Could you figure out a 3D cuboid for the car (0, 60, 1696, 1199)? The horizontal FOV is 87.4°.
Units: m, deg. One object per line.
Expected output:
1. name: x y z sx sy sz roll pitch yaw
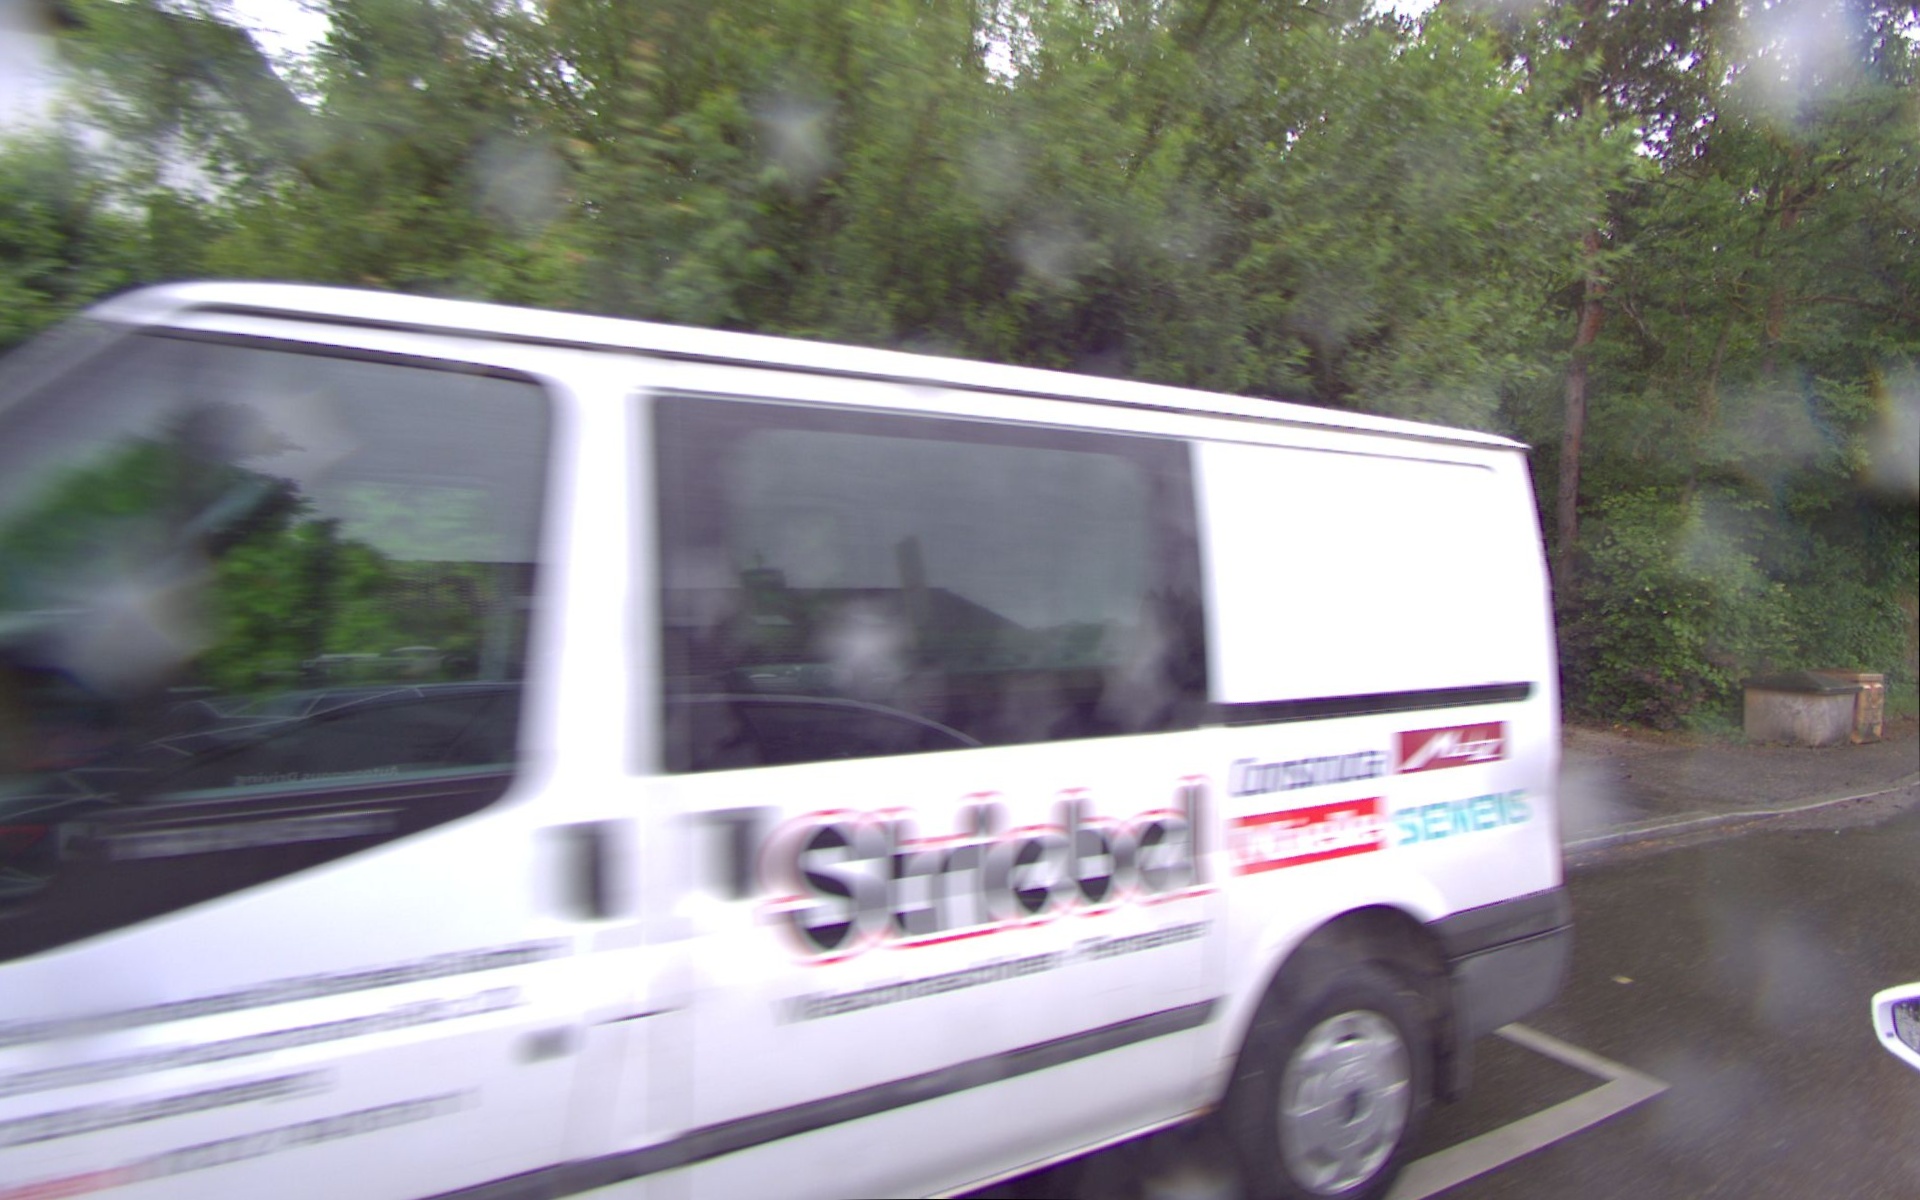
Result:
1. car: -0.653 0.419 2.544 5.109 2.001 2.102 1 0 -29
